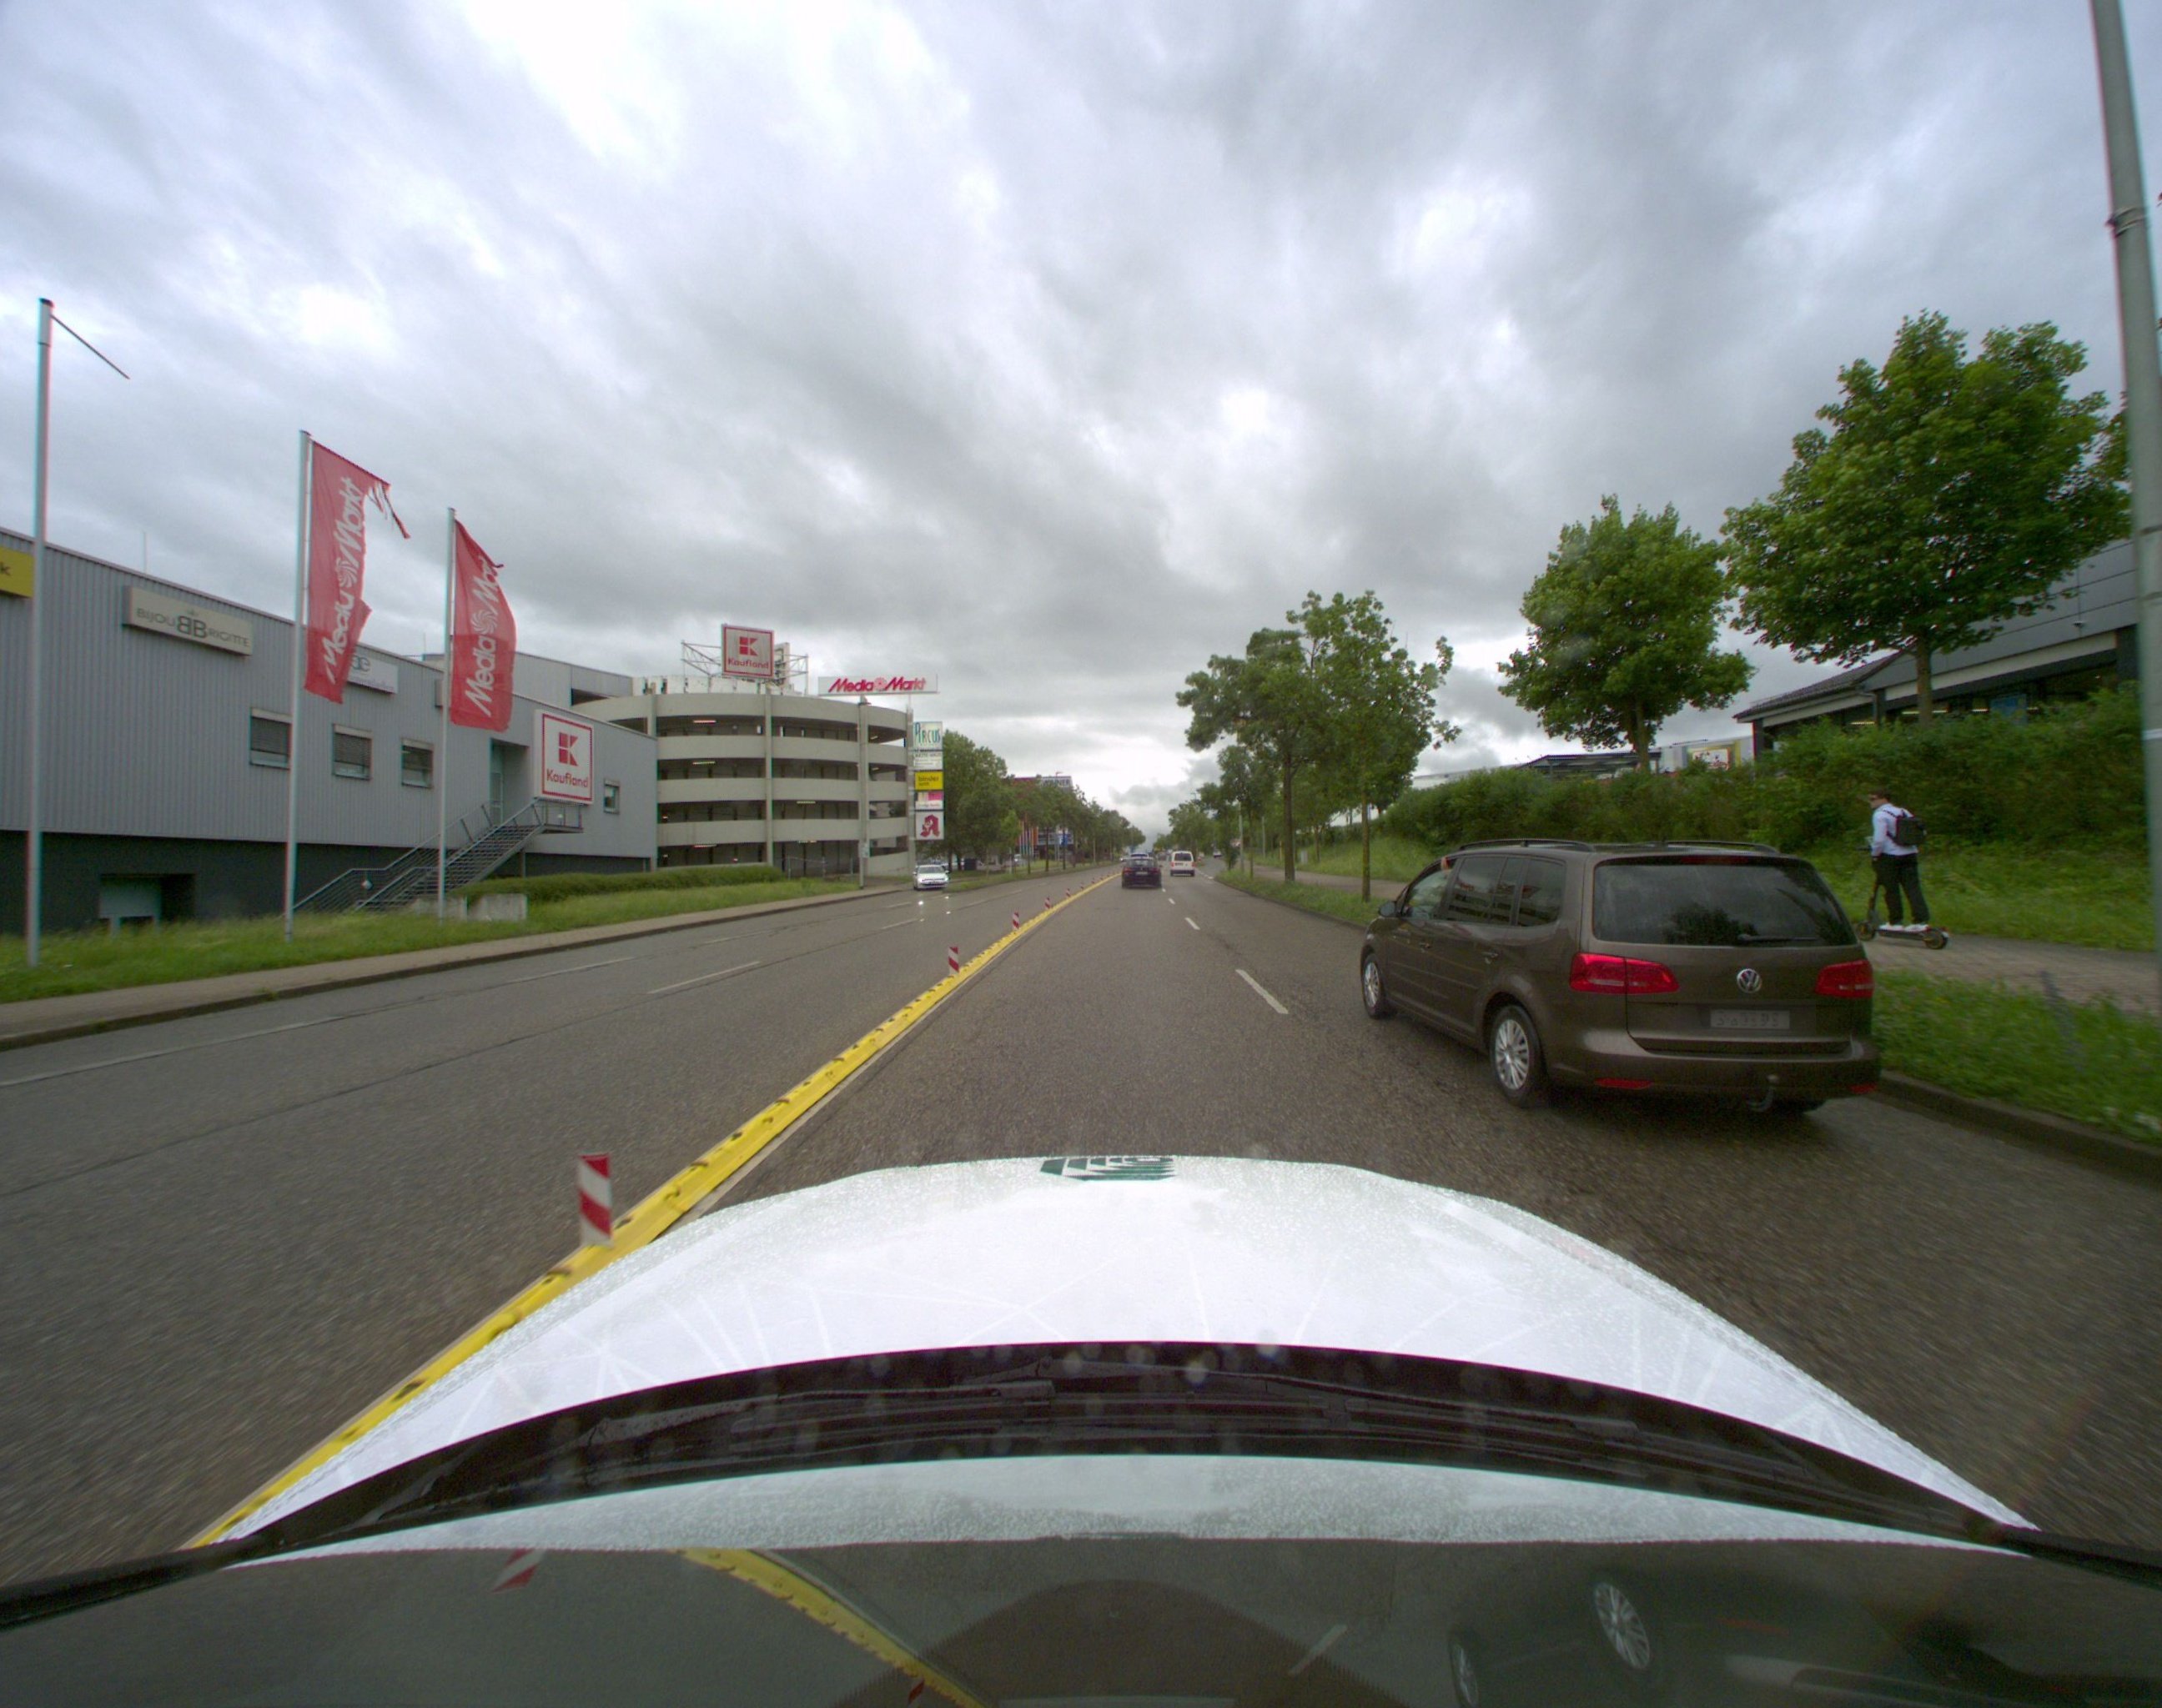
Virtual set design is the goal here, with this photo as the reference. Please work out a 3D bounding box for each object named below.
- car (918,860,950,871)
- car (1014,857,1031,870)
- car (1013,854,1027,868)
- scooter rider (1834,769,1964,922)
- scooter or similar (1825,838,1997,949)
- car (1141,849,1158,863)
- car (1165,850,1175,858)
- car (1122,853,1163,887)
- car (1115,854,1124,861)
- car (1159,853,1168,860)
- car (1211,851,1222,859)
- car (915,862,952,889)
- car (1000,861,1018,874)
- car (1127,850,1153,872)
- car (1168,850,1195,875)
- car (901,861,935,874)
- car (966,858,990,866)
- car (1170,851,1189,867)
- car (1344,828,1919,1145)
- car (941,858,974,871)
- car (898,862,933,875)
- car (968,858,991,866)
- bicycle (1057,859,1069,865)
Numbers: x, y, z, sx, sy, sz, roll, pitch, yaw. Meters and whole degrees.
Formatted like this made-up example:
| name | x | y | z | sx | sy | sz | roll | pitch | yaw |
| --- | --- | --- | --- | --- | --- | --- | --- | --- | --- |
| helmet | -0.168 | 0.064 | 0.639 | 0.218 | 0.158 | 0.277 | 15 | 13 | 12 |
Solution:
| name | x | y | z | sx | sy | sz | roll | pitch | yaw |
| --- | --- | --- | --- | --- | --- | --- | --- | --- | --- |
| car | -23.233 | 1.818 | 128.784 | 4.598 | 1.510 | 2.024 | 0 | 1 | -2 |
| car | -9.169 | 1.490 | 128.837 | 2.030 | 1.762 | 4.950 | 0 | 1 | 3 |
| car | -10.024 | 1.188 | 134.626 | 2.109 | 2.096 | 5.117 | 0 | 1 | -3 |
| scooter rider | 10.342 | -0.105 | 10.334 | 0.692 | 1.820 | 0.858 | -3 | 0 | 1 |
| scooter or similar | 10.374 | 0.464 | 10.251 | 0.692 | 1.263 | 1.401 | -3 | 0 | 1 |
| car | 7.419 | 0.241 | 87.939 | 1.786 | 1.510 | 4.004 | 0 | -1 | 4 |
| car | 17.409 | 0.074 | 159.958 | 1.786 | 1.510 | 4.005 | 0 | -1 | 5 |
| car | 2.920 | 0.719 | 38.837 | 1.819 | 1.468 | 4.005 | -2 | 0 | 4 |
| car | 8.997 | 0.816 | 189.018 | 1.857 | 1.553 | 4.583 | -4 | 0 | 6 |
| car | 17.591 | 0.602 | 174.360 | 1.787 | 1.510 | 4.003 | 0 | -1 | 3 |
| car | 24.007 | 0.187 | 144.532 | 1.782 | 1.510 | 4.012 | 0 | -1 | 11 |
| car | -8.523 | 1.196 | 47.149 | 1.900 | 1.408 | 4.408 | -3 | 0 | -10 |
| car | -10.117 | 1.880 | 114.230 | 1.926 | 1.608 | 4.713 | 0 | 1 | 1 |
| car | 4.220 | 0.528 | 57.971 | 1.786 | 1.510 | 4.004 | 0 | -1 | 4 |
| car | 7.341 | 0.594 | 59.646 | 1.818 | 1.759 | 4.005 | 0 | 0 | 5 |
| car | -23.469 | 1.951 | 117.599 | 4.592 | 1.745 | 2.130 | -1 | 1 | -6 |
| car | -18.590 | 1.455 | 147.363 | 4.098 | 1.510 | 1.818 | 0 | 1 | -2 |
| car | 9.712 | 0.481 | 80.644 | 1.785 | 1.510 | 4.006 | 0 | -1 | 5 |
| car | 3.463 | 0.669 | 6.230 | 1.679 | 1.581 | 4.220 | 1 | 0 | 2 |
| car | -18.160 | 1.526 | 119.812 | 4.587 | 1.745 | 1.966 | 0 | 1 | -2 |
| car | -23.223 | 2.059 | 114.706 | 4.592 | 1.745 | 1.964 | -1 | 1 | -6 |
| car | -18.589 | 1.456 | 149.603 | 4.098 | 1.510 | 1.818 | 0 | 1 | -2 |
| bicycle | -3.240 | 1.427 | 147.281 | 2.064 | 0.935 | 1.096 | 3 | 0 | 10 |
